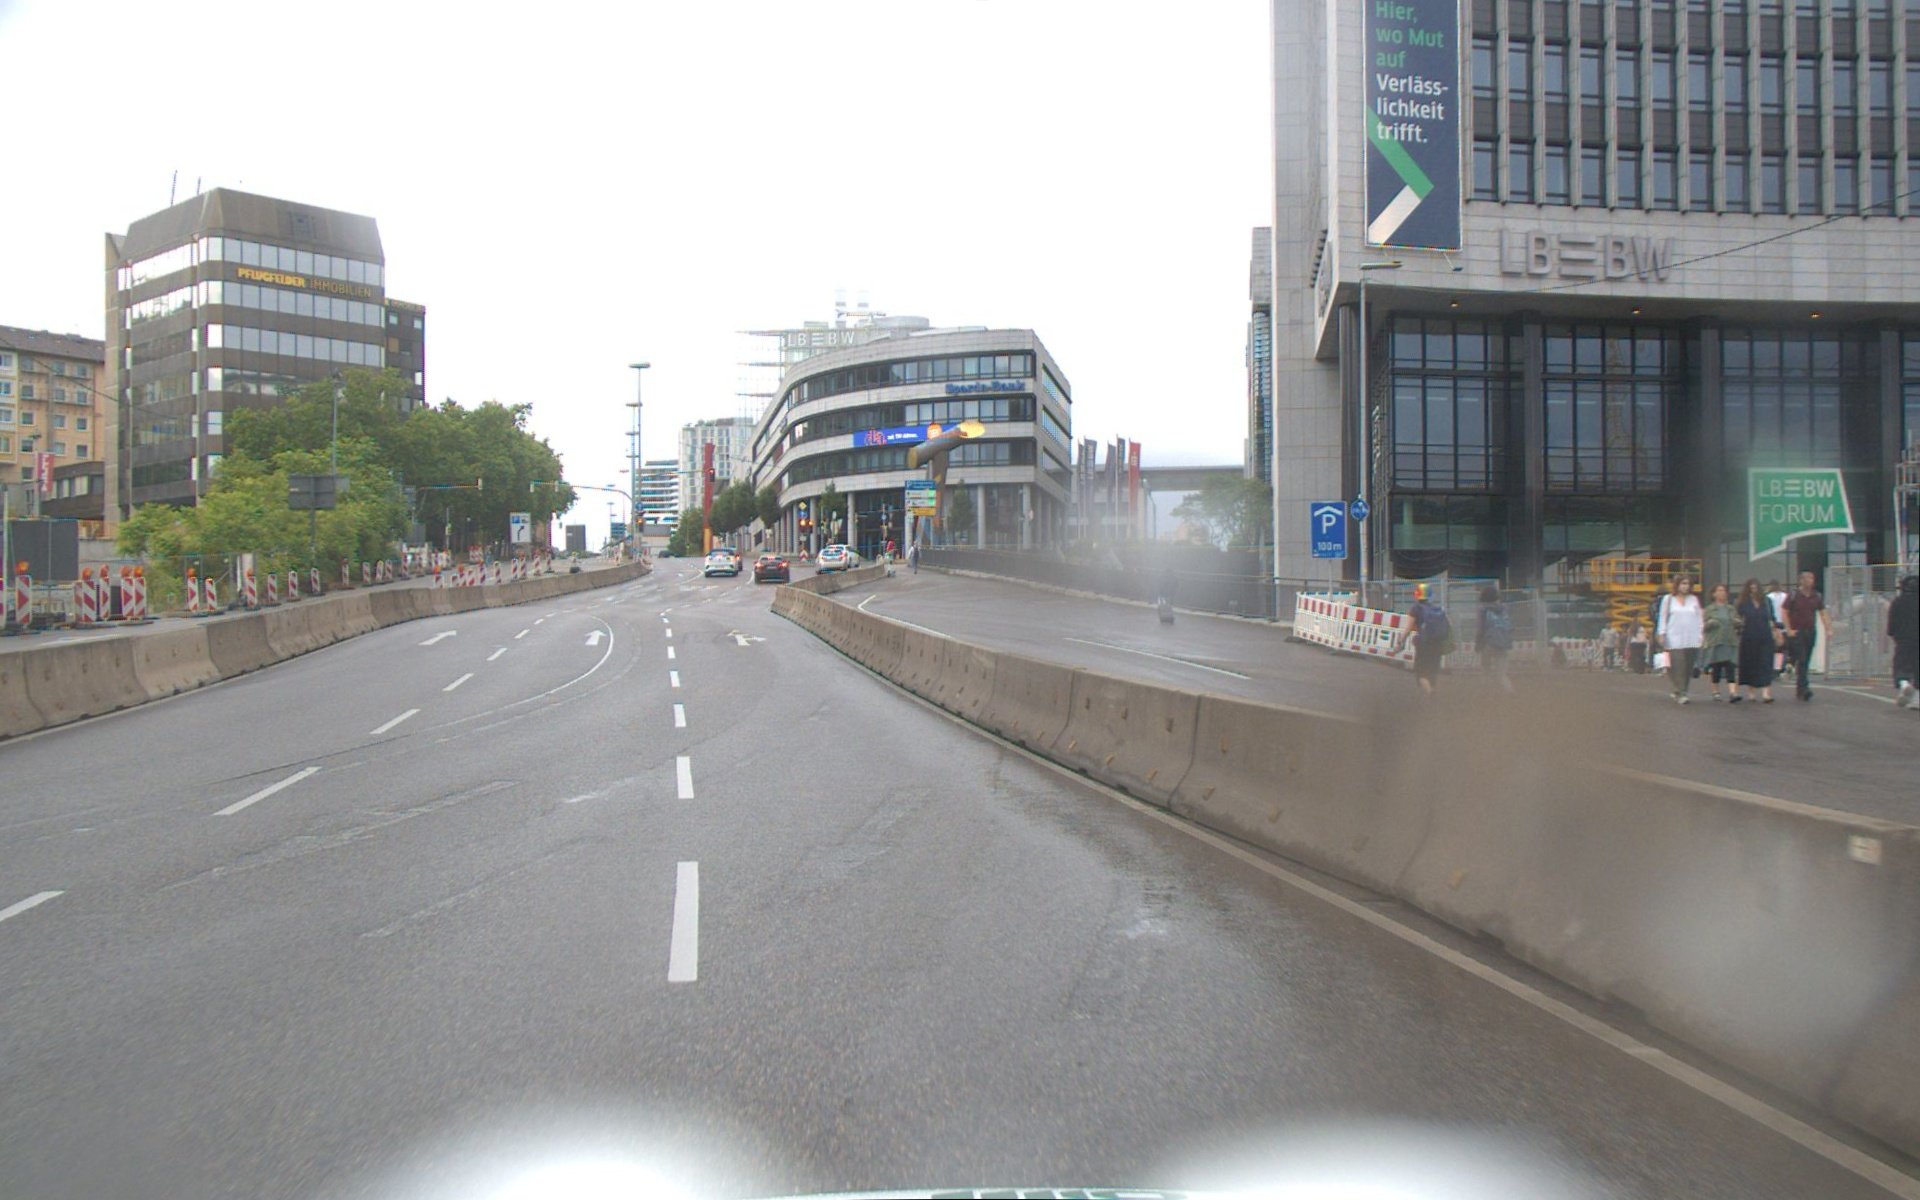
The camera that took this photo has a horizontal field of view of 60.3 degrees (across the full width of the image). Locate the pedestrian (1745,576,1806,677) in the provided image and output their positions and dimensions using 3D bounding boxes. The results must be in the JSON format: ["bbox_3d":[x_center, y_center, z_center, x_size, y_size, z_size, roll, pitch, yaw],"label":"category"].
[{"bbox_3d":[14.873,0.476,30.183,0.848,1.812,1.009,-1,-1,18],"label":"pedestrian"}]

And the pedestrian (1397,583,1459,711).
[{"bbox_3d":[6.020,0.591,21.263,0.716,1.602,0.805,1,0,17],"label":"pedestrian"}]

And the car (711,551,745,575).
[{"bbox_3d":[-14.490,-2.337,103.168,1.710,1.468,3.987,0,2,-13],"label":"car"}]

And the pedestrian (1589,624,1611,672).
[{"bbox_3d":[22.253,1.662,57.502,0.689,1.644,0.566,-1,-1,22],"label":"pedestrian"}]

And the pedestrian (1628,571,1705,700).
[{"bbox_3d":[9.749,0.485,22.842,0.761,1.753,0.892,0,-1,9],"label":"pedestrian"}]

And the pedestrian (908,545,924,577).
[{"bbox_3d":[-2.405,-2.146,90.672,0.716,1.741,0.841,0,-1,-11],"label":"pedestrian"}]

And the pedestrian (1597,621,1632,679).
[{"bbox_3d":[19.019,1.448,48.085,0.848,1.665,1.009,-1,-1,18],"label":"pedestrian"}]

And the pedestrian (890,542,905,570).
[{"bbox_3d":[-4.518,-3.168,119.028,0.822,1.938,0.862,-1,-1,15],"label":"pedestrian"}]

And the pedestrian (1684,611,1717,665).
[{"bbox_3d":[22.820,1.165,50.973,0.648,1.665,0.730,0,-1,-41],"label":"pedestrian"}]

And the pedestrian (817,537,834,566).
[{"bbox_3d":[-9.952,-3.606,122.330,0.845,2.135,0.894,1,1,-34],"label":"pedestrian"}]

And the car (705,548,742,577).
[{"bbox_3d":[-13.471,-2.162,94.354,1.926,1.575,4.214,0,2,-6],"label":"car"}]

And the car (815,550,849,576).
[{"bbox_3d":[-7.438,-2.106,95.780,1.669,1.476,4.607,0,1,-9],"label":"car"}]

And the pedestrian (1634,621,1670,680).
[{"bbox_3d":[19.953,1.457,47.719,0.848,1.665,1.009,-1,-1,18],"label":"pedestrian"}]

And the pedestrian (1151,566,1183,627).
[{"bbox_3d":[5.748,-0.103,45.942,0.714,1.681,1.061,0,1,17],"label":"pedestrian"}]

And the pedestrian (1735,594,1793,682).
[{"bbox_3d":[15.396,0.720,31.708,0.848,1.665,1.009,-1,-1,18],"label":"pedestrian"}]

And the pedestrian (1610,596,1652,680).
[{"bbox_3d":[13.531,0.756,33.353,0.709,1.665,0.916,-1,-1,18],"label":"pedestrian"}]

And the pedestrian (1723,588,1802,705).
[{"bbox_3d":[11.020,0.629,22.741,0.699,1.580,1.009,0,0,9],"label":"pedestrian"}]

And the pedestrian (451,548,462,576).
[{"bbox_3d":[-36.115,-2.731,118.646,0.659,1.935,0.774,0,-1,-8],"label":"pedestrian"}]

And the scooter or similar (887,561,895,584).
[{"bbox_3d":[-3.545,-1.397,84.465,0.341,1.183,0.573,0,0,4],"label":"scooter or similar"}]

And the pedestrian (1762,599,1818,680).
[{"bbox_3d":[16.565,0.782,33.038,0.848,1.580,1.009,-1,-1,18],"label":"pedestrian"}]

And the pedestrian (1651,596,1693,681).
[{"bbox_3d":[14.174,0.762,32.936,0.683,1.665,0.916,-1,-1,18],"label":"pedestrian"}]

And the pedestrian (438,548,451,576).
[{"bbox_3d":[-36.946,-2.740,118.554,0.747,1.956,0.741,0,-1,-8],"label":"pedestrian"}]

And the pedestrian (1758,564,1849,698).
[{"bbox_3d":[11.938,0.432,23.443,0.847,1.849,1.009,0,-1,9],"label":"pedestrian"}]

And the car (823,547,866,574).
[{"bbox_3d":[-7.398,-2.561,106.614,1.733,1.662,4.586,0,2,9],"label":"car"}]

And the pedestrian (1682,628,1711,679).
[{"bbox_3d":[24.558,1.789,55.136,0.848,1.665,1.008,-1,-1,23],"label":"pedestrian"}]

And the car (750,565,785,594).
[{"bbox_3d":[-10.035,-1.058,86.200,1.722,1.432,4.221,1,1,-8],"label":"car"}]

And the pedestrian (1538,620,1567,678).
[{"bbox_3d":[17.243,1.419,48.147,0.576,1.665,0.749,-1,-1,38],"label":"pedestrian"}]

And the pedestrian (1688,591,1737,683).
[{"bbox_3d":[14.992,0.728,32.980,0.755,1.814,1.009,-1,-1,18],"label":"pedestrian"}]

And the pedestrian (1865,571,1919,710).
[{"bbox_3d":[12.308,0.513,21.415,0.848,1.756,1.009,-1,-1,18],"label":"pedestrian"}]

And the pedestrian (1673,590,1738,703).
[{"bbox_3d":[10.343,0.636,22.976,0.596,1.549,0.886,0,-1,9],"label":"pedestrian"}]

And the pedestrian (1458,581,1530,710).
[{"bbox_3d":[6.885,0.571,21.357,0.842,1.621,0.953,-1,-1,17],"label":"pedestrian"}]
